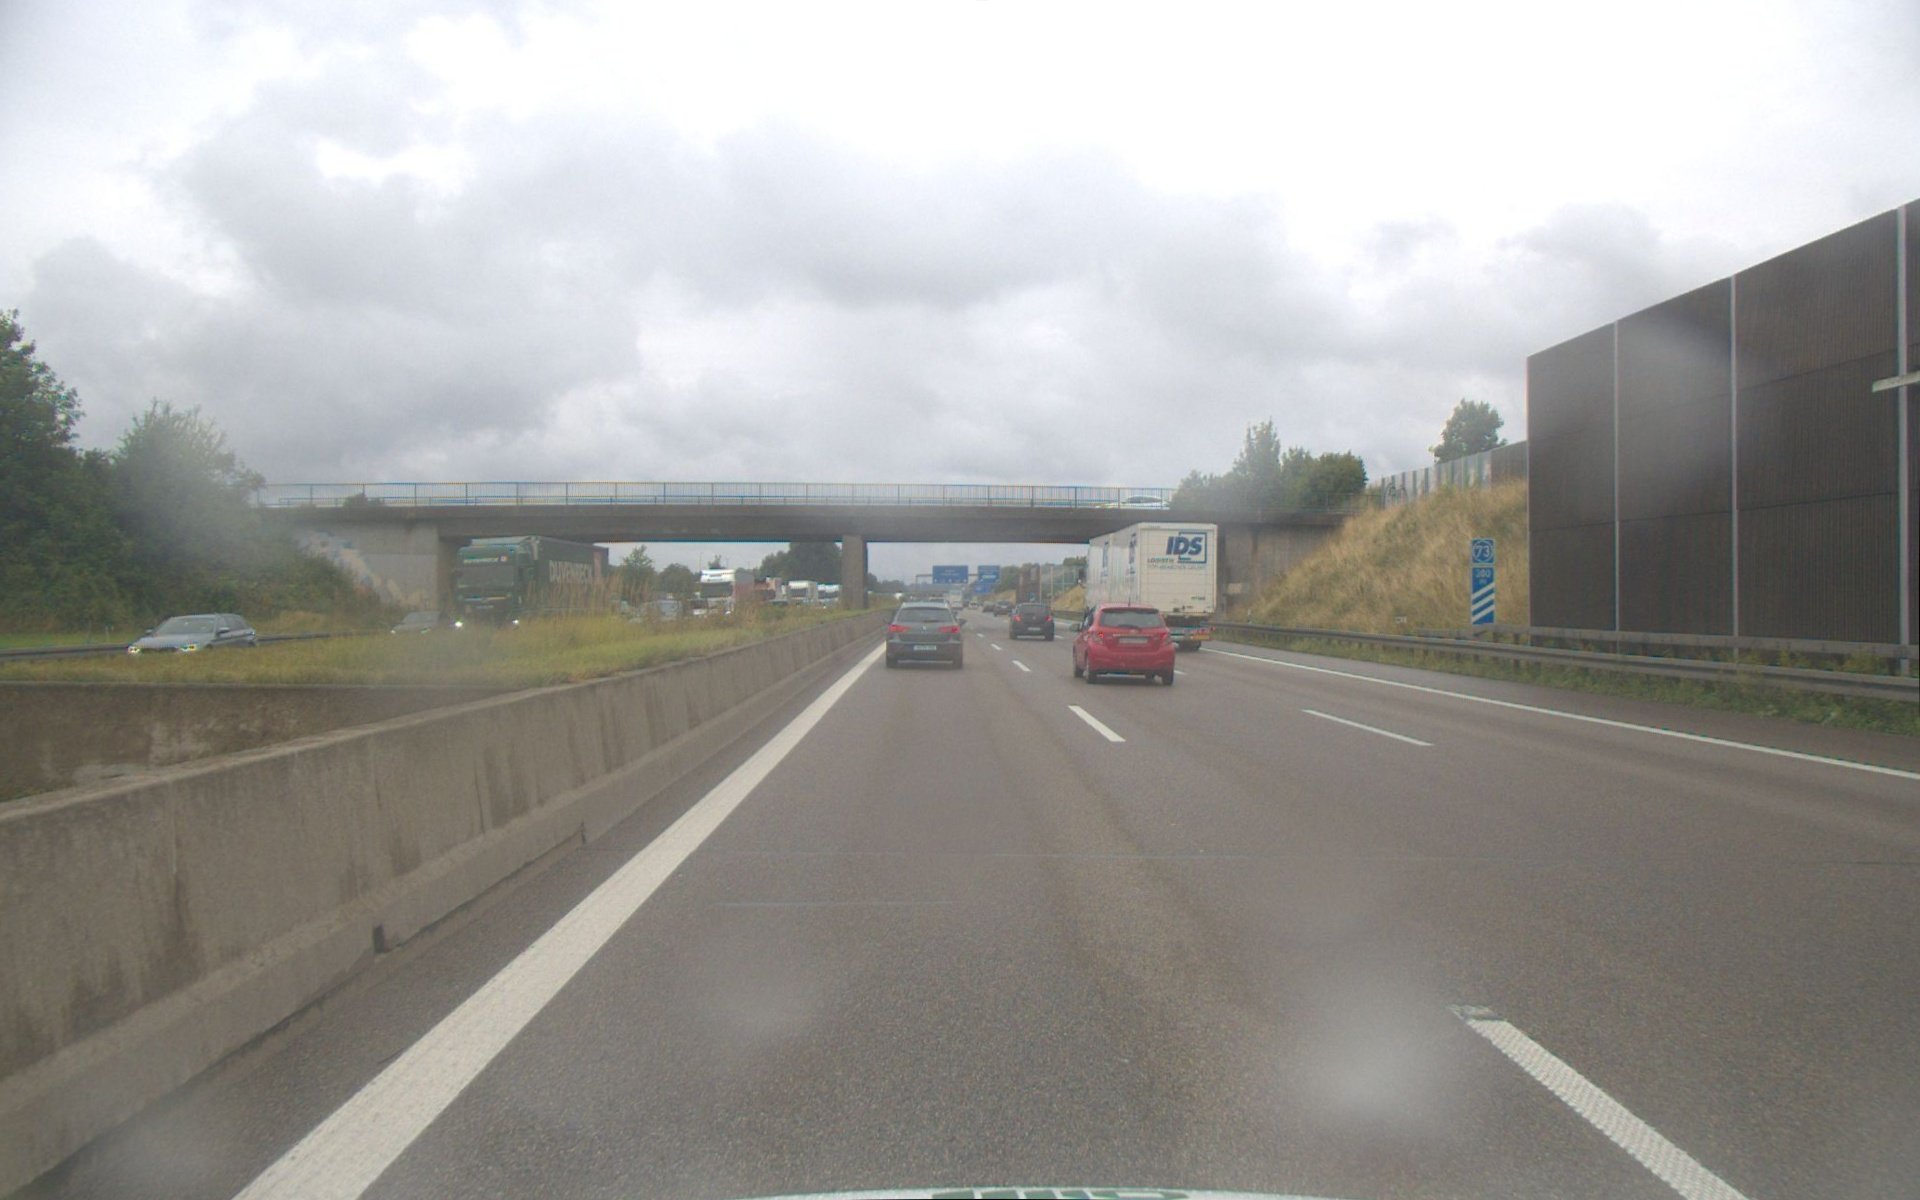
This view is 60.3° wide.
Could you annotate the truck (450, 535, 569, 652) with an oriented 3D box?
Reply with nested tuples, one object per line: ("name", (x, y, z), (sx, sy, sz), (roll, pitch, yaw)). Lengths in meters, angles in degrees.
("truck", (-16.825, -0.193, 62.227), (2.701, 4.121, 6.253), (2, -1, -1))

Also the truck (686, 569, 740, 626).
("truck", (-18.519, -0.163, 124.229), (3.206, 4.116, 5.291), (2, -1, -1))

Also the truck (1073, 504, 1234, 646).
("truck", (6.712, -0.675, 61.253), (3.217, 4.370, 19.026), (2, -1, -1))

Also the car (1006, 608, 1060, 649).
("car", (2.905, 1.107, 66.511), (1.882, 1.548, 4.621), (1, 0, -1))

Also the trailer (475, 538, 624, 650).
("trailer", (-16.881, -0.149, 69.297), (2.701, 4.121, 14.515), (2, -1, -1))

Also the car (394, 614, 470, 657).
("car", (-20.791, 1.369, 65.267), (1.678, 1.580, 4.412), (-1, 0, -2))

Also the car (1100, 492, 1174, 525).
("car", (10.334, -5.314, 96.659), (3.919, 1.646, 1.873), (2, -1, -14))

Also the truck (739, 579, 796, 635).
("truck", (-18.667, 0.738, 161.627), (3.951, 5.031, 14.430), (2, -1, -1))

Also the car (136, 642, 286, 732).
("car", (-19.309, 2.185, 42.902), (1.784, 2.004, 5.256), (-1, 0, -4))

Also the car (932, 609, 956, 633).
("car", (-1.249, 1.634, 129.224), (1.670, 1.828, 3.853), (-1, 0, -3))

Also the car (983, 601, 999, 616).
("car", (4.106, 1.130, 220.115), (1.953, 1.844, 4.227), (-1, 0, -1))

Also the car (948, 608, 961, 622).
("car", (-0.864, 2.354, 262.171), (1.953, 2.049, 4.240), (2, -1, -1))

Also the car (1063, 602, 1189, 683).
("car", (3.192, 0.779, 32.697), (1.853, 1.472, 4.683), (1, 0, -2))

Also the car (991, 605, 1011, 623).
("car", (4.172, 1.447, 169.841), (1.808, 1.716, 3.998), (2, -1, -2))

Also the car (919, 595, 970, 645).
("car", (-0.630, 0.785, 66.090), (1.953, 1.893, 3.999), (-1, 0, -1))

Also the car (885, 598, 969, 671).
("car", (-0.751, 0.760, 37.191), (1.733, 1.493, 3.998), (2, -1, -1))

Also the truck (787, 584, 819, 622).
("truck", (-18.945, 0.372, 200.120), (2.916, 4.394, 9.667), (2, -1, 0))
